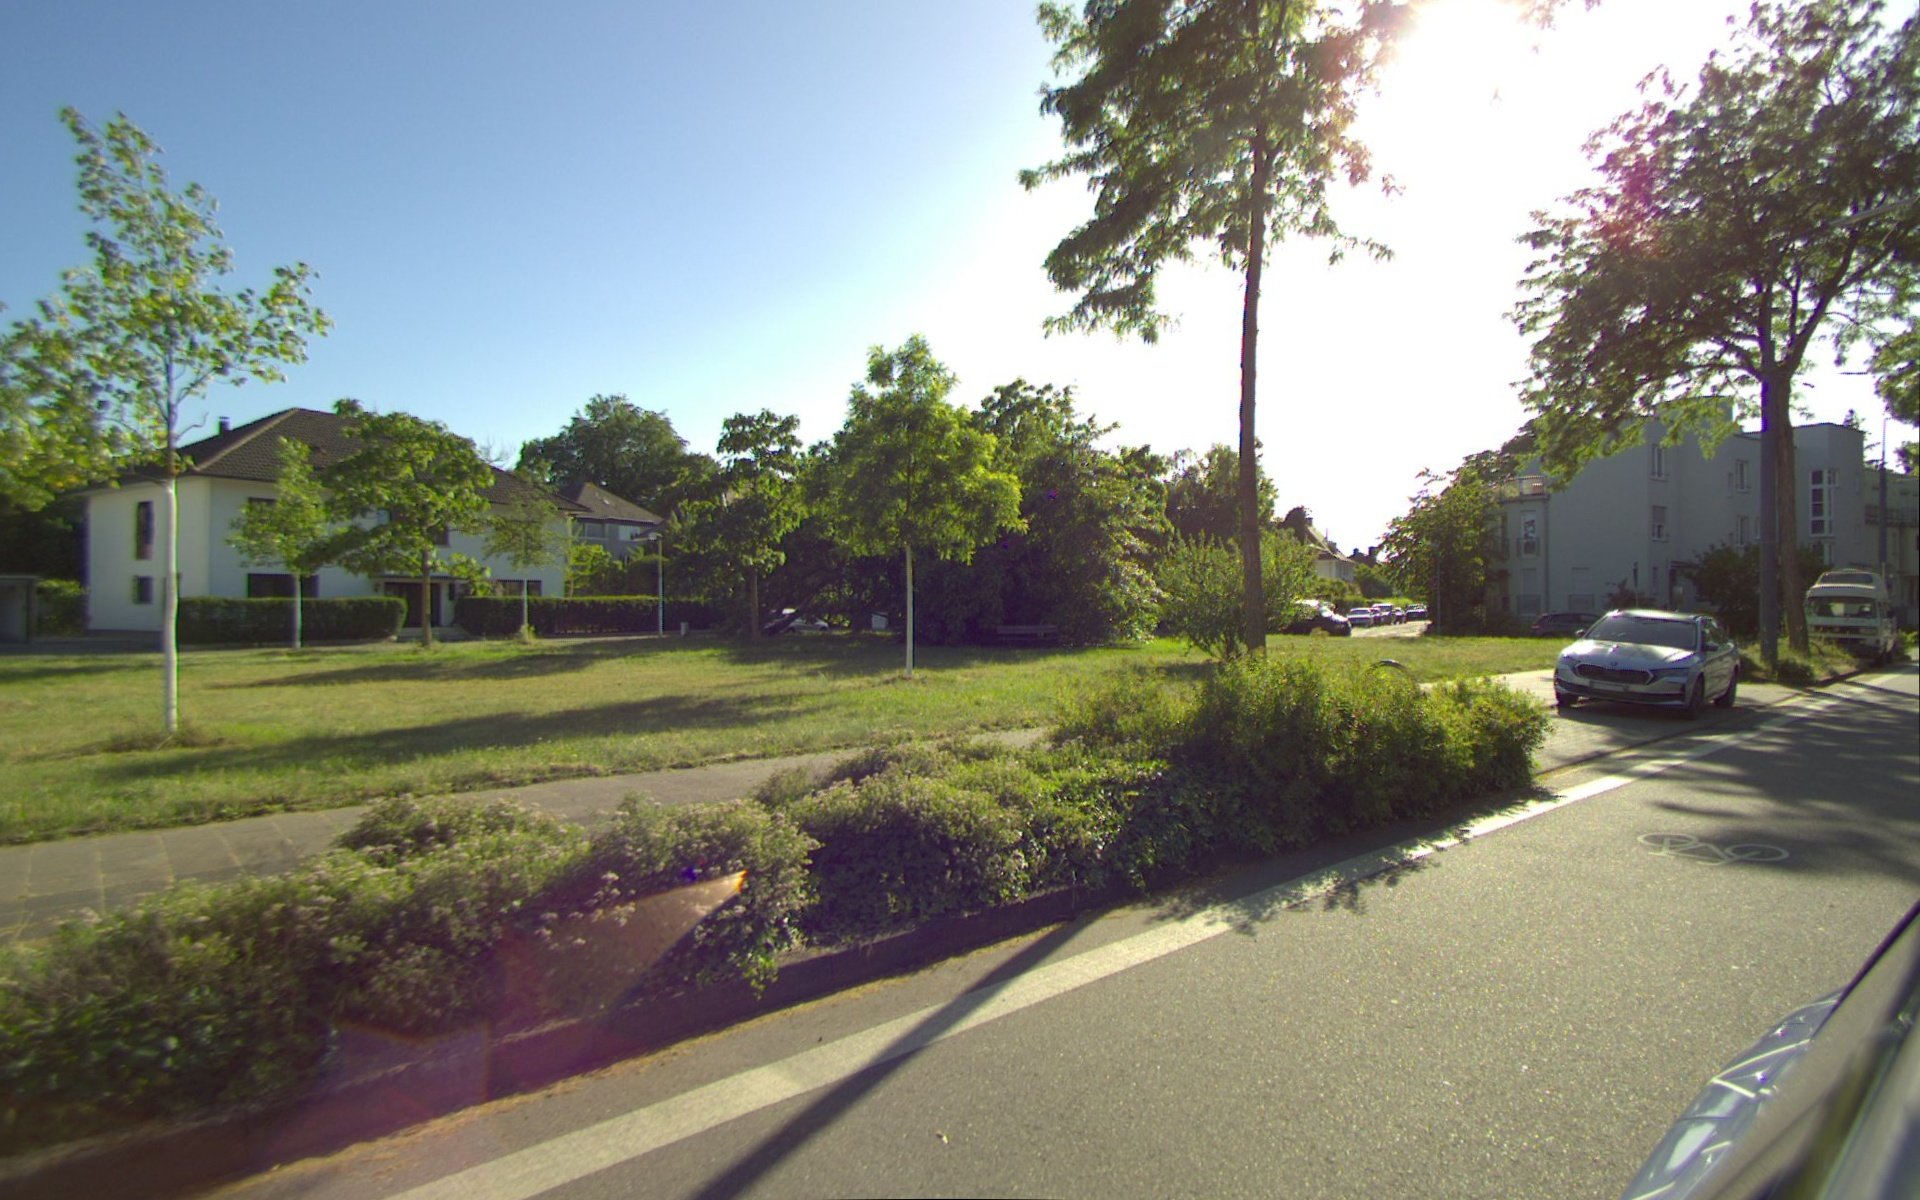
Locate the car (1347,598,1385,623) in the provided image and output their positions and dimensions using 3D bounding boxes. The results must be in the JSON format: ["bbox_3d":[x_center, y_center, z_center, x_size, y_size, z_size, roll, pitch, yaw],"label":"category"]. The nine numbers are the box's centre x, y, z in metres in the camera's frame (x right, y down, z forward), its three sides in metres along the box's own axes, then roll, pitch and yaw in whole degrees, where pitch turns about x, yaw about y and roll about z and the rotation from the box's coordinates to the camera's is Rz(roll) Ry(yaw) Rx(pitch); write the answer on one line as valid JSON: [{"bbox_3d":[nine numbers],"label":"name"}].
[{"bbox_3d":[29.969,0.748,74.669,1.983,1.788,4.224,0,0,30],"label":"car"}]

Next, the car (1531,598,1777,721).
[{"bbox_3d":[11.018,0.782,15.878,5.341,1.483,2.004,0,3,-43],"label":"car"}]

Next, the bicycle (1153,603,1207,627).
[{"bbox_3d":[11.438,0.766,52.618,2.636,1.247,0.793,0,-1,25],"label":"bicycle"}]

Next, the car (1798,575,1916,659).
[{"bbox_3d":[24.595,0.426,27.705,4.637,2.122,1.995,0,0,-43],"label":"car"}]

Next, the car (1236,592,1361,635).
[{"bbox_3d":[15.759,0.655,47.180,5.171,1.909,2.077,-1,-1,32],"label":"car"}]

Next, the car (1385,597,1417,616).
[{"bbox_3d":[39.396,0.560,90.372,1.985,1.715,3.954,-1,0,32],"label":"car"}]

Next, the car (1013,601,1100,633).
[{"bbox_3d":[5.132,0.890,53.907,4.200,1.613,1.976,0,0,34],"label":"car"}]

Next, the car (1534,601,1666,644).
[{"bbox_3d":[25.923,0.866,41.183,4.427,1.508,1.988,0,3,32],"label":"car"}]

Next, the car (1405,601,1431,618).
[{"bbox_3d":[48.435,1.007,106.988,1.985,1.728,3.954,-1,0,32],"label":"car"}]

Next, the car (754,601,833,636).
[{"bbox_3d":[-8.829,0.943,53.841,1.987,1.819,3.949,0,0,35],"label":"car"}]
